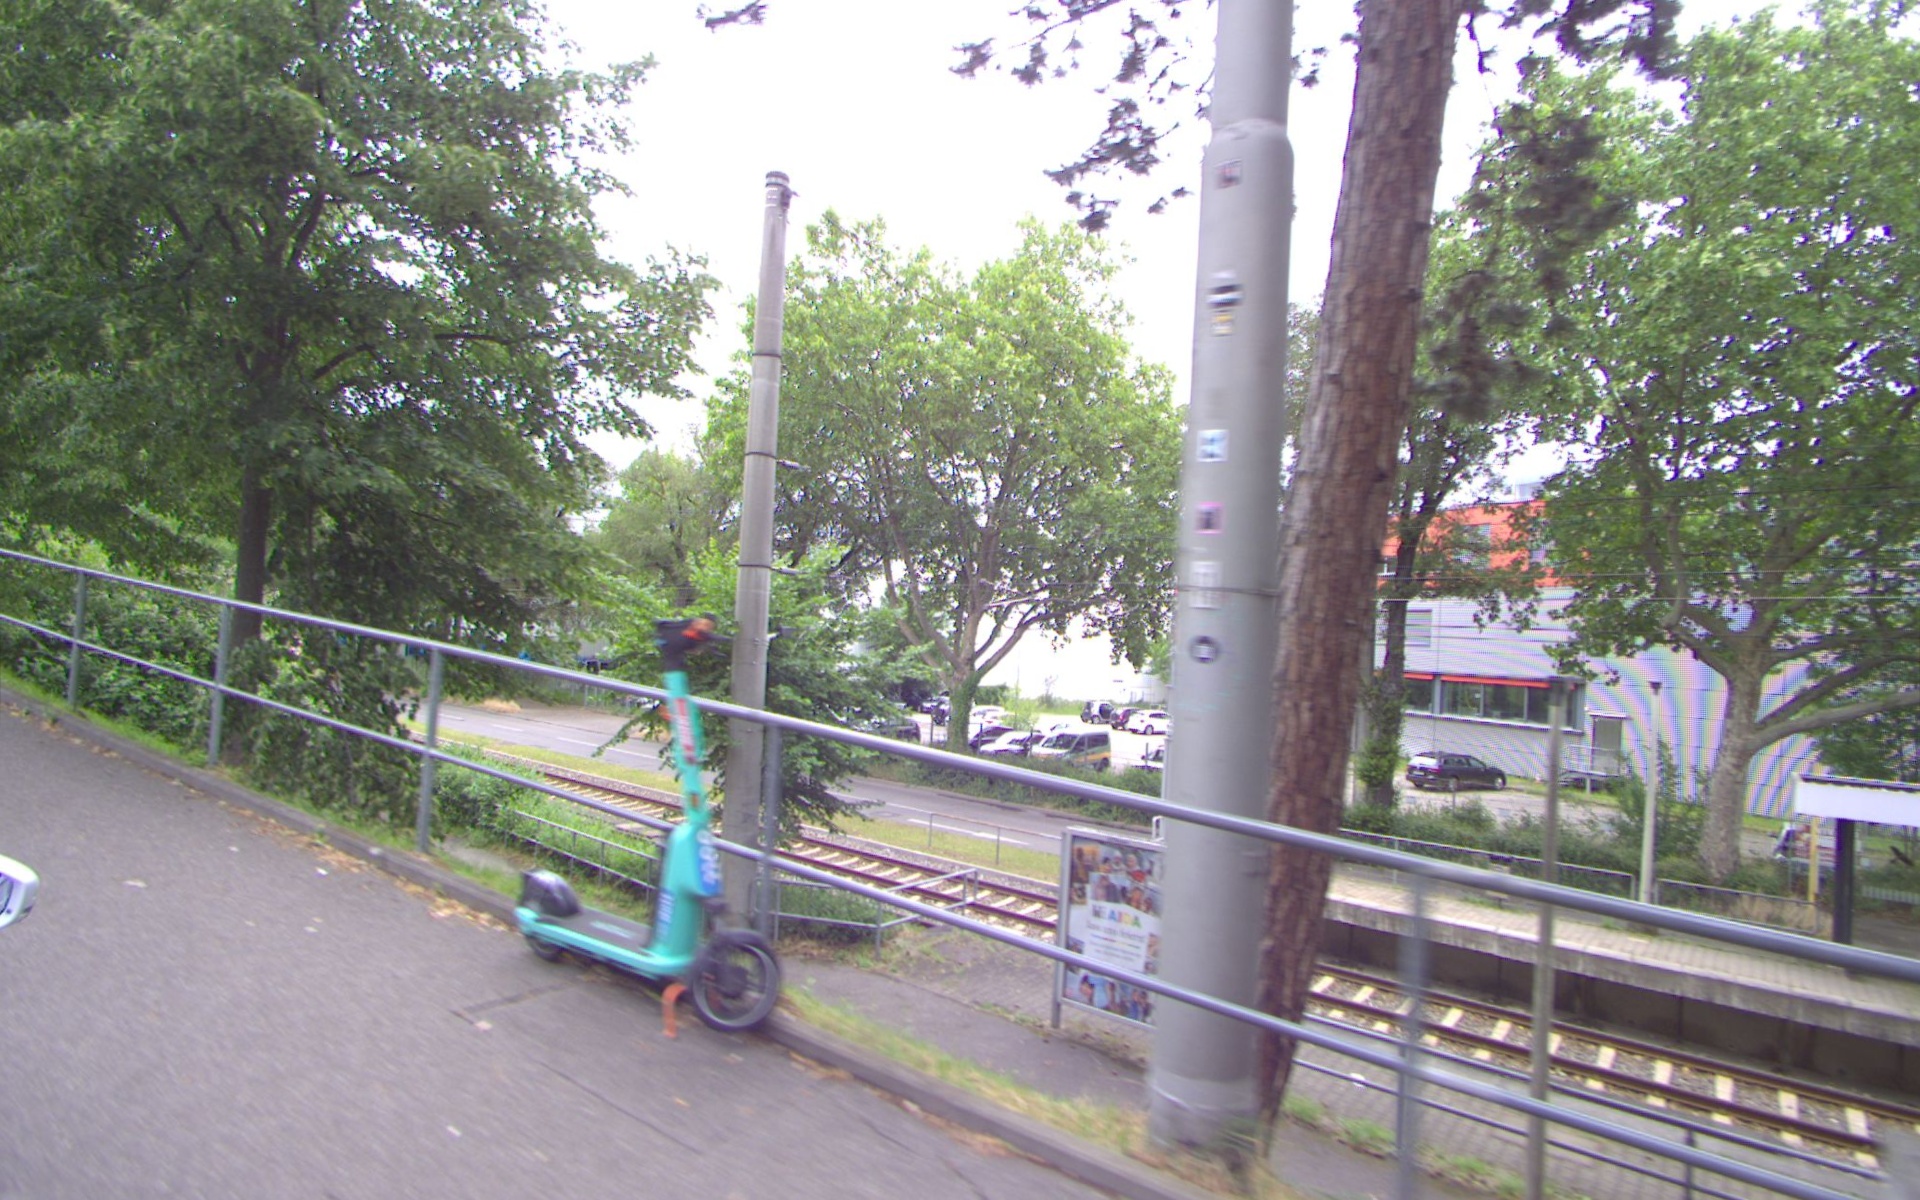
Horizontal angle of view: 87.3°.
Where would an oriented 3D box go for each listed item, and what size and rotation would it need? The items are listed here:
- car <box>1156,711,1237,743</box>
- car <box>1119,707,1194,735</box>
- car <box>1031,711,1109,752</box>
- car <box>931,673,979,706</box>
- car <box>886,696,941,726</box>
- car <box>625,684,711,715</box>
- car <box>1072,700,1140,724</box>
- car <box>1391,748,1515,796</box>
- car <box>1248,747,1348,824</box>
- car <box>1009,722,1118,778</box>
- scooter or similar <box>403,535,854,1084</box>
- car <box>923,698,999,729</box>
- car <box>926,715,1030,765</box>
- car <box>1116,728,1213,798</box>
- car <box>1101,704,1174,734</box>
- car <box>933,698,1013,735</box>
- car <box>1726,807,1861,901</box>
[{"bbox_3d":[13.960,7.494,59.432,4.276,1.488,1.992,1,1,-20],"label":"car"},{"bbox_3d":[12.411,7.616,63.538,4.279,1.487,1.991,2,1,-22],"label":"car"},{"bbox_3d":[5.697,6.850,52.716,1.975,1.486,4.319,7,-1,-25],"label":"car"},{"bbox_3d":[-0.399,6.438,72.795,1.974,1.832,3.979,6,-1,-23],"label":"car"},{"bbox_3d":[-3.335,7.837,71.039,1.978,1.486,4.311,7,-2,-30],"label":"car"},{"bbox_3d":[-16.536,5.675,57.127,1.800,1.523,4.326,5,-2,39],"label":"car"},{"bbox_3d":[10.271,7.854,70.720,4.281,1.487,1.990,3,1,-24],"label":"car"},{"bbox_3d":[20.495,7.149,41.848,4.467,1.392,1.993,7,-1,-19],"label":"car"},{"bbox_3d":[11.615,6.259,34.440,1.970,2.038,3.987,5,-2,37],"label":"car"},{"bbox_3d":[4.184,5.903,40.099,1.972,1.813,4.562,5,-2,40],"label":"car"},{"bbox_3d":[-1.107,0.548,3.230,1.431,1.401,0.430,5,0,31],"label":"scooter or similar"},{"bbox_3d":[0.080,7.147,63.295,4.295,1.486,1.986,7,-1,-30],"label":"car"},{"bbox_3d":[0.844,6.078,44.107,1.972,1.813,4.562,5,-2,40],"label":"car"},{"bbox_3d":[7.547,5.889,36.873,1.968,2.038,3.991,5,-1,33],"label":"car"},{"bbox_3d":[11.672,7.825,65.963,4.290,1.486,1.988,7,-1,-27],"label":"car"},{"bbox_3d":[0.792,7.060,60.772,4.288,1.737,1.989,7,-1,-25],"label":"car"},{"bbox_3d":[21.730,6.508,26.185,3.971,1.723,1.978,7,-2,-41],"label":"car"}]
